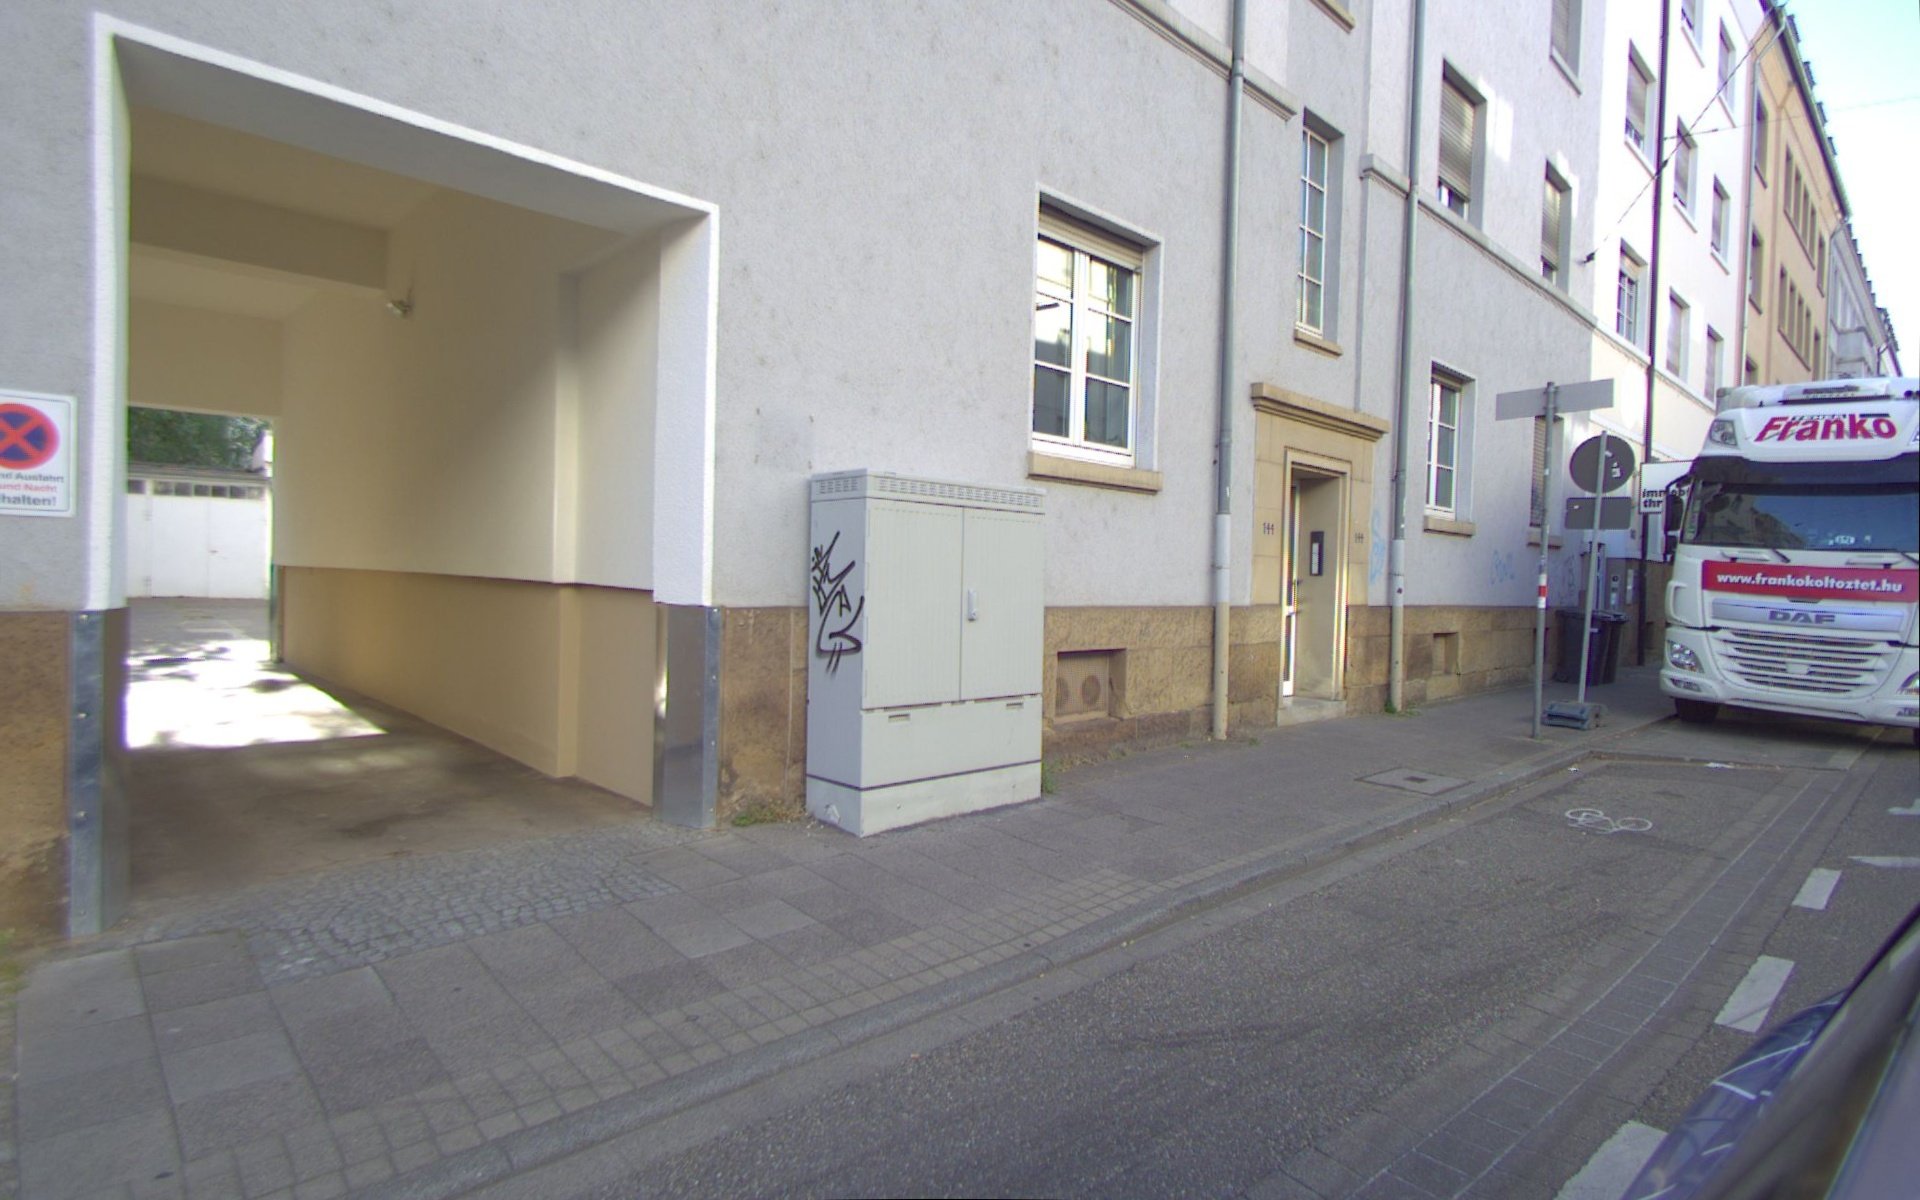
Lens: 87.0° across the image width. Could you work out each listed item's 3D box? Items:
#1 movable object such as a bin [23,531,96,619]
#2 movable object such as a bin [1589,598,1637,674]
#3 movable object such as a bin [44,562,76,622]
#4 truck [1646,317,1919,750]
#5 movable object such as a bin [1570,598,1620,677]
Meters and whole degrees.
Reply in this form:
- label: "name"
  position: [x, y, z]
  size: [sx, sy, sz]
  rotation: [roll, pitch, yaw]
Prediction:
- label: "movable object such as a bin"
  position: [-14.915, -0.423, 16.766]
  size: [0.874, 1.409, 0.758]
  rotation: [0, 4, -44]
- label: "movable object such as a bin"
  position: [9.664, 0.519, 14.975]
  size: [0.511, 1.106, 0.488]
  rotation: [0, 0, 45]
- label: "movable object such as a bin"
  position: [-14.413, -0.133, 16.211]
  size: [0.366, 0.919, 0.420]
  rotation: [0, 3, -44]
- label: "truck"
  position: [12.563, -0.608, 13.863]
  size: [11.511, 4.012, 2.894]
  rotation: [0, 0, -44]
- label: "movable object such as a bin"
  position: [9.153, 0.525, 14.588]
  size: [0.511, 1.106, 0.488]
  rotation: [0, 0, 45]
